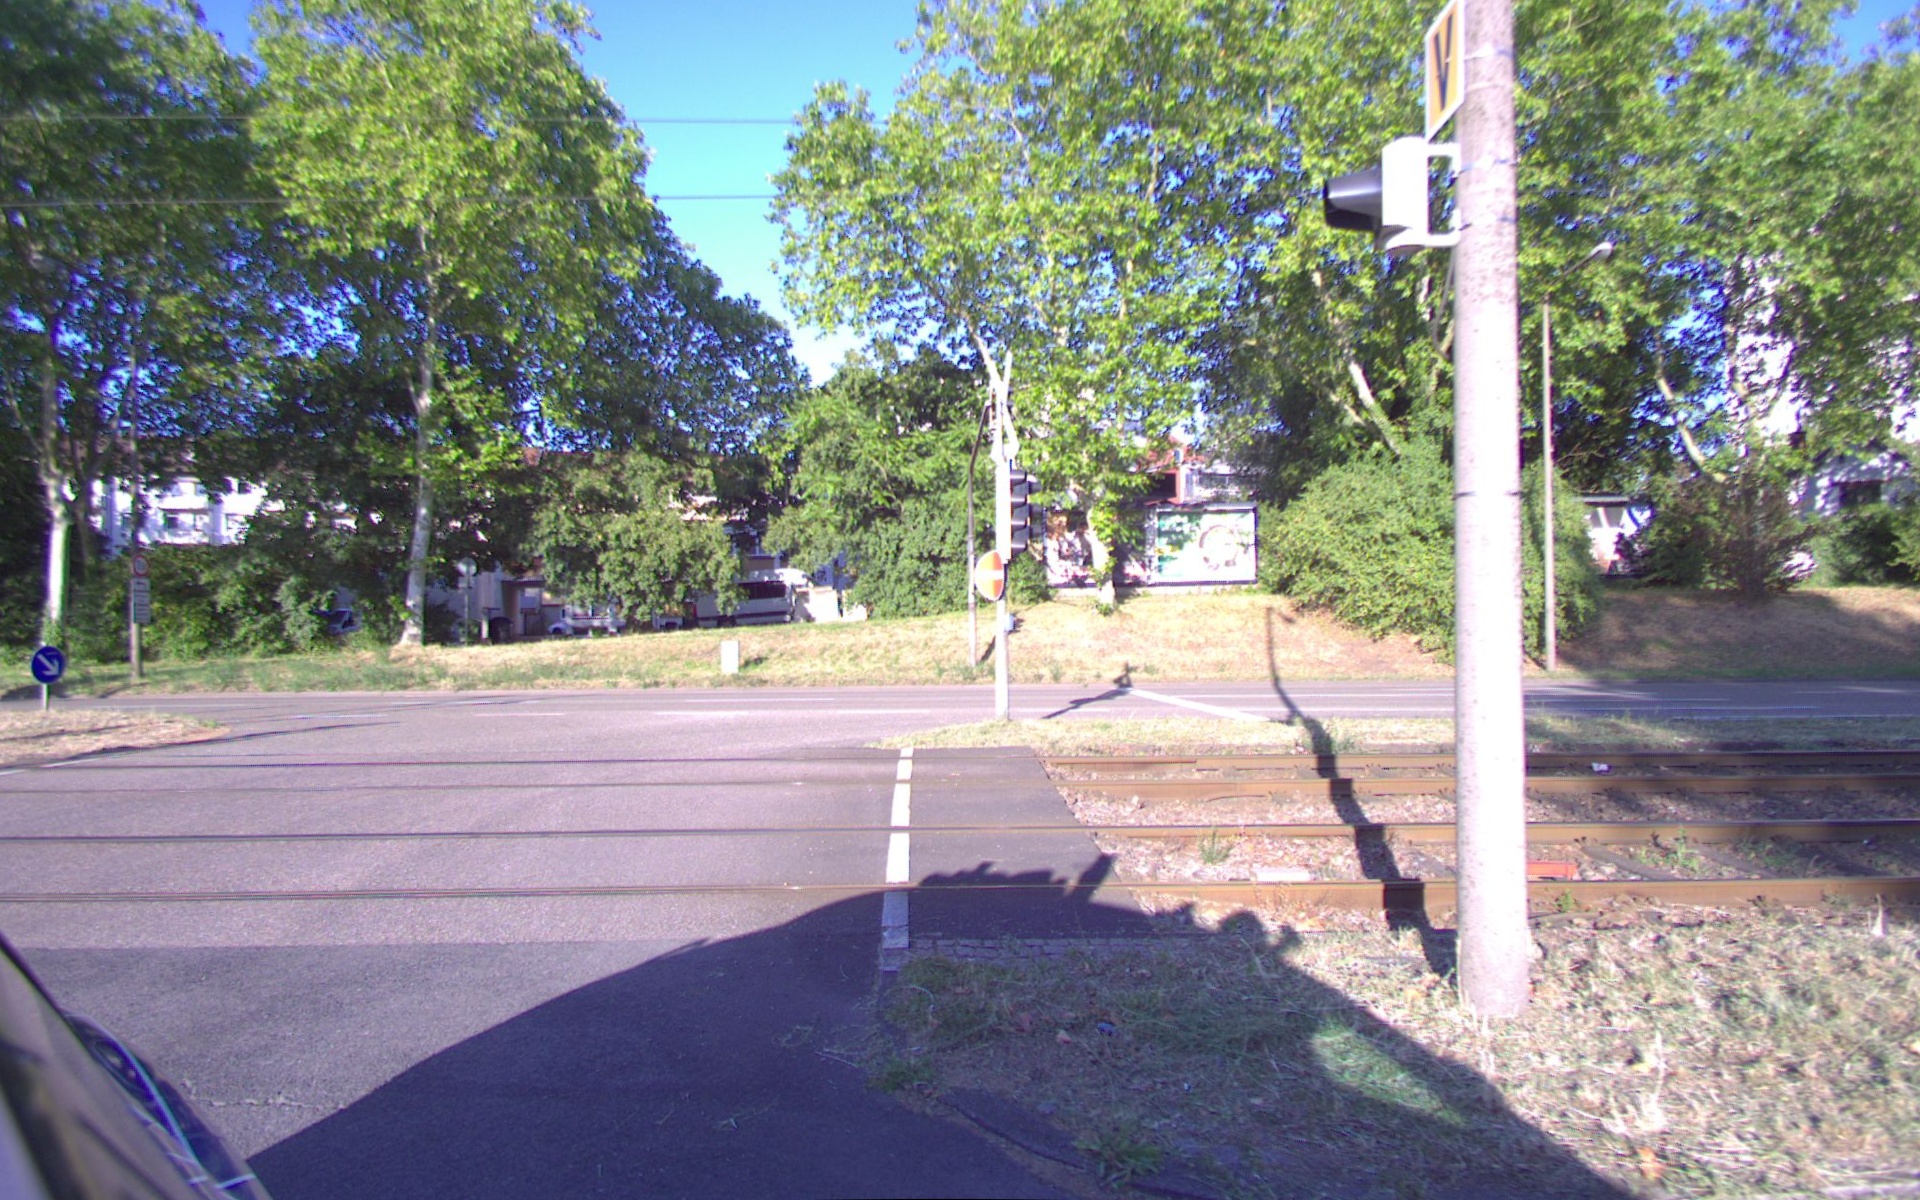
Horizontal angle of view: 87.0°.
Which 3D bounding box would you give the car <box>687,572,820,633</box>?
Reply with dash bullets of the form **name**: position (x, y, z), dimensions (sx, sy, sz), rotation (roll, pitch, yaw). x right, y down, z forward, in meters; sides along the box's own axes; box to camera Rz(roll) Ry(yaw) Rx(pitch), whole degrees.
- **car**: position (-9.172, 0.125, 45.127), dimensions (5.555, 2.532, 1.804), rotation (-1, -3, 4)
